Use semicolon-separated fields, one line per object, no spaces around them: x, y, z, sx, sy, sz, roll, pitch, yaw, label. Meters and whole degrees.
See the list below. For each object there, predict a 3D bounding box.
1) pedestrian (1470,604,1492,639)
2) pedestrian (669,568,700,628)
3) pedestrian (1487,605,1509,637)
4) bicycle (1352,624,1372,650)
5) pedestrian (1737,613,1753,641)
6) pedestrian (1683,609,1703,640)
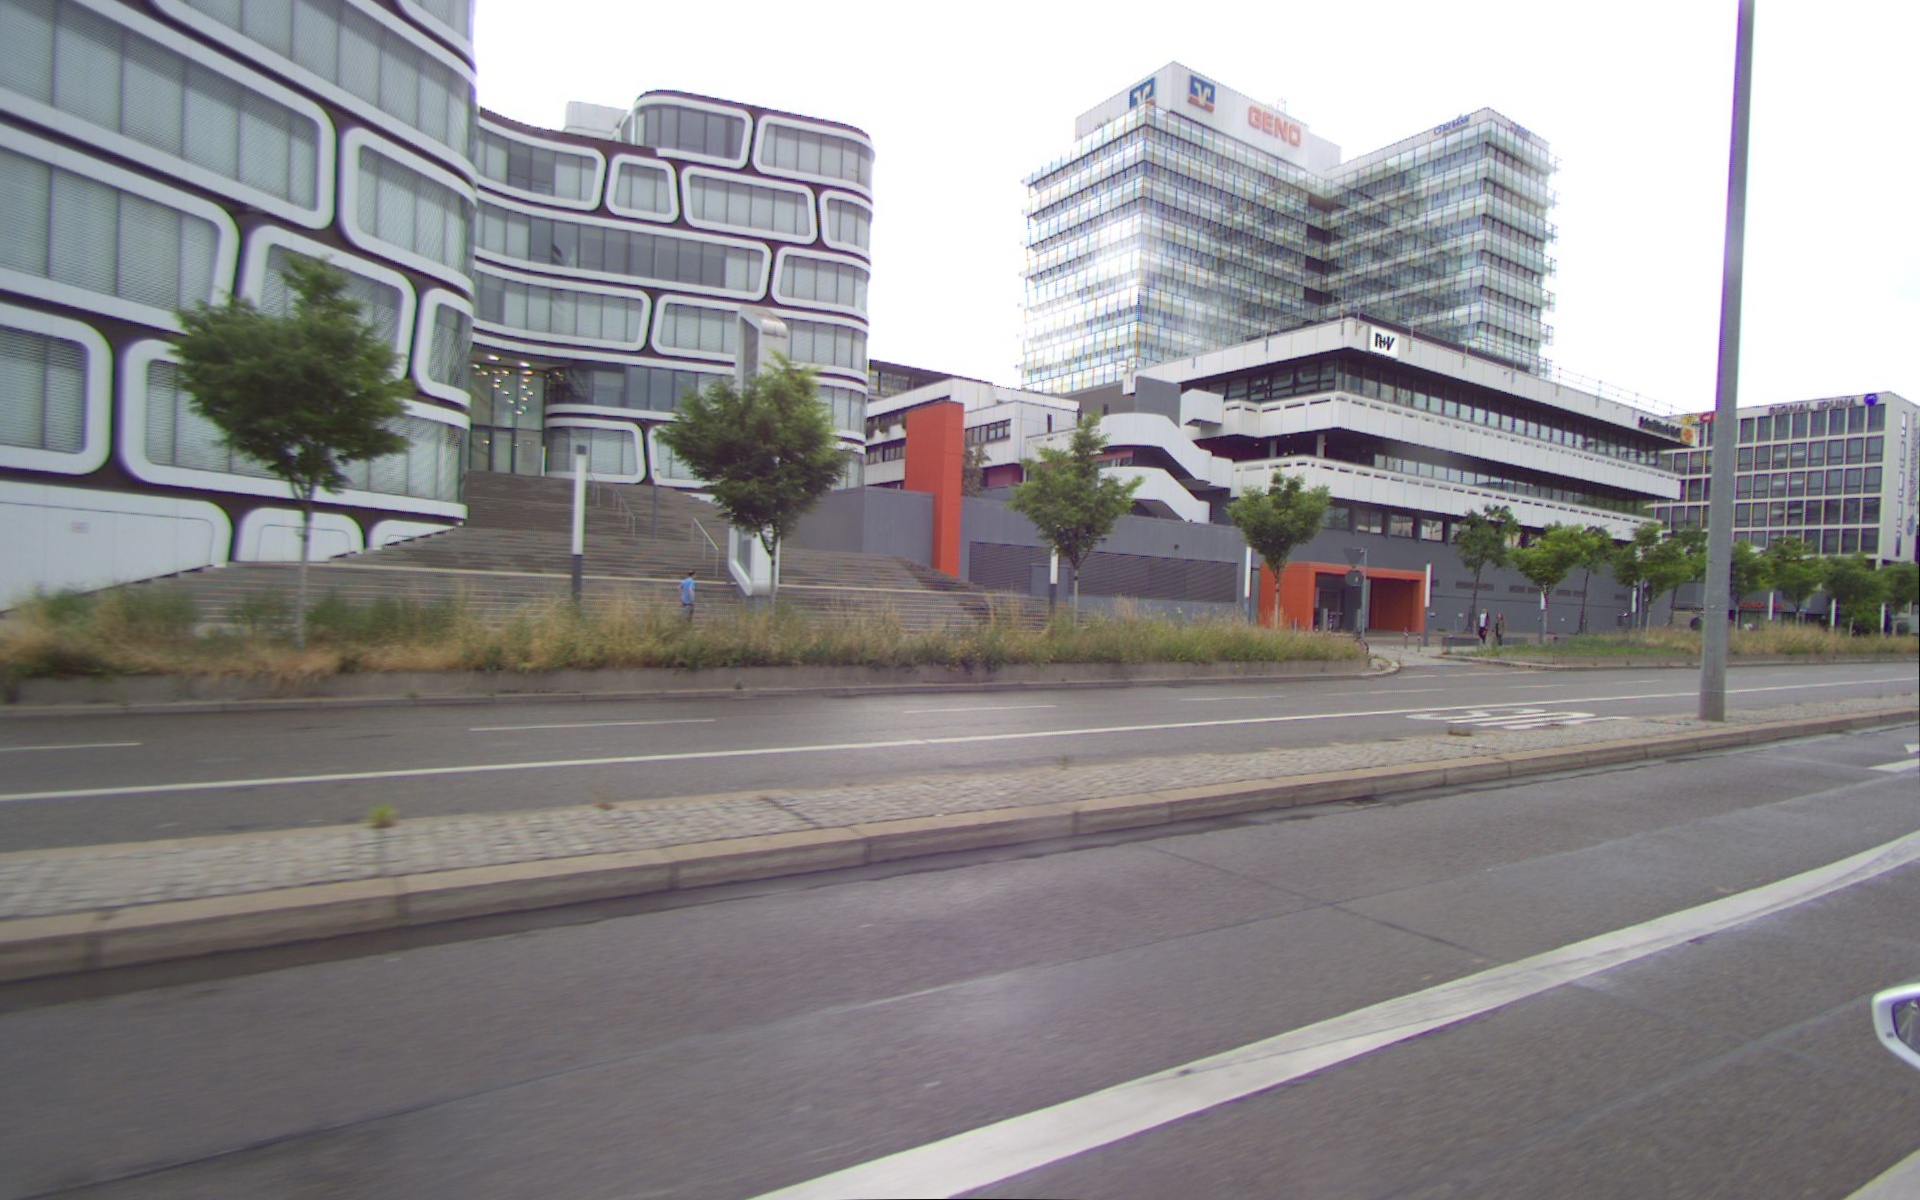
25.056;1.028;48.310;0.790;1.680;0.614;2;-2;-32;pedestrian
-7.712;-0.064;28.093;0.632;1.632;0.607;2;-1;-30;pedestrian
25.545;0.994;47.695;0.790;1.465;0.614;2;-1;-32;pedestrian
14.049;1.278;35.091;0.598;0.869;1.657;2;-1;23;bicycle
51.663;1.771;66.127;0.622;1.831;0.626;2;-1;-33;pedestrian
43.209;1.434;59.203;0.622;1.831;0.779;2;-1;-33;pedestrian
